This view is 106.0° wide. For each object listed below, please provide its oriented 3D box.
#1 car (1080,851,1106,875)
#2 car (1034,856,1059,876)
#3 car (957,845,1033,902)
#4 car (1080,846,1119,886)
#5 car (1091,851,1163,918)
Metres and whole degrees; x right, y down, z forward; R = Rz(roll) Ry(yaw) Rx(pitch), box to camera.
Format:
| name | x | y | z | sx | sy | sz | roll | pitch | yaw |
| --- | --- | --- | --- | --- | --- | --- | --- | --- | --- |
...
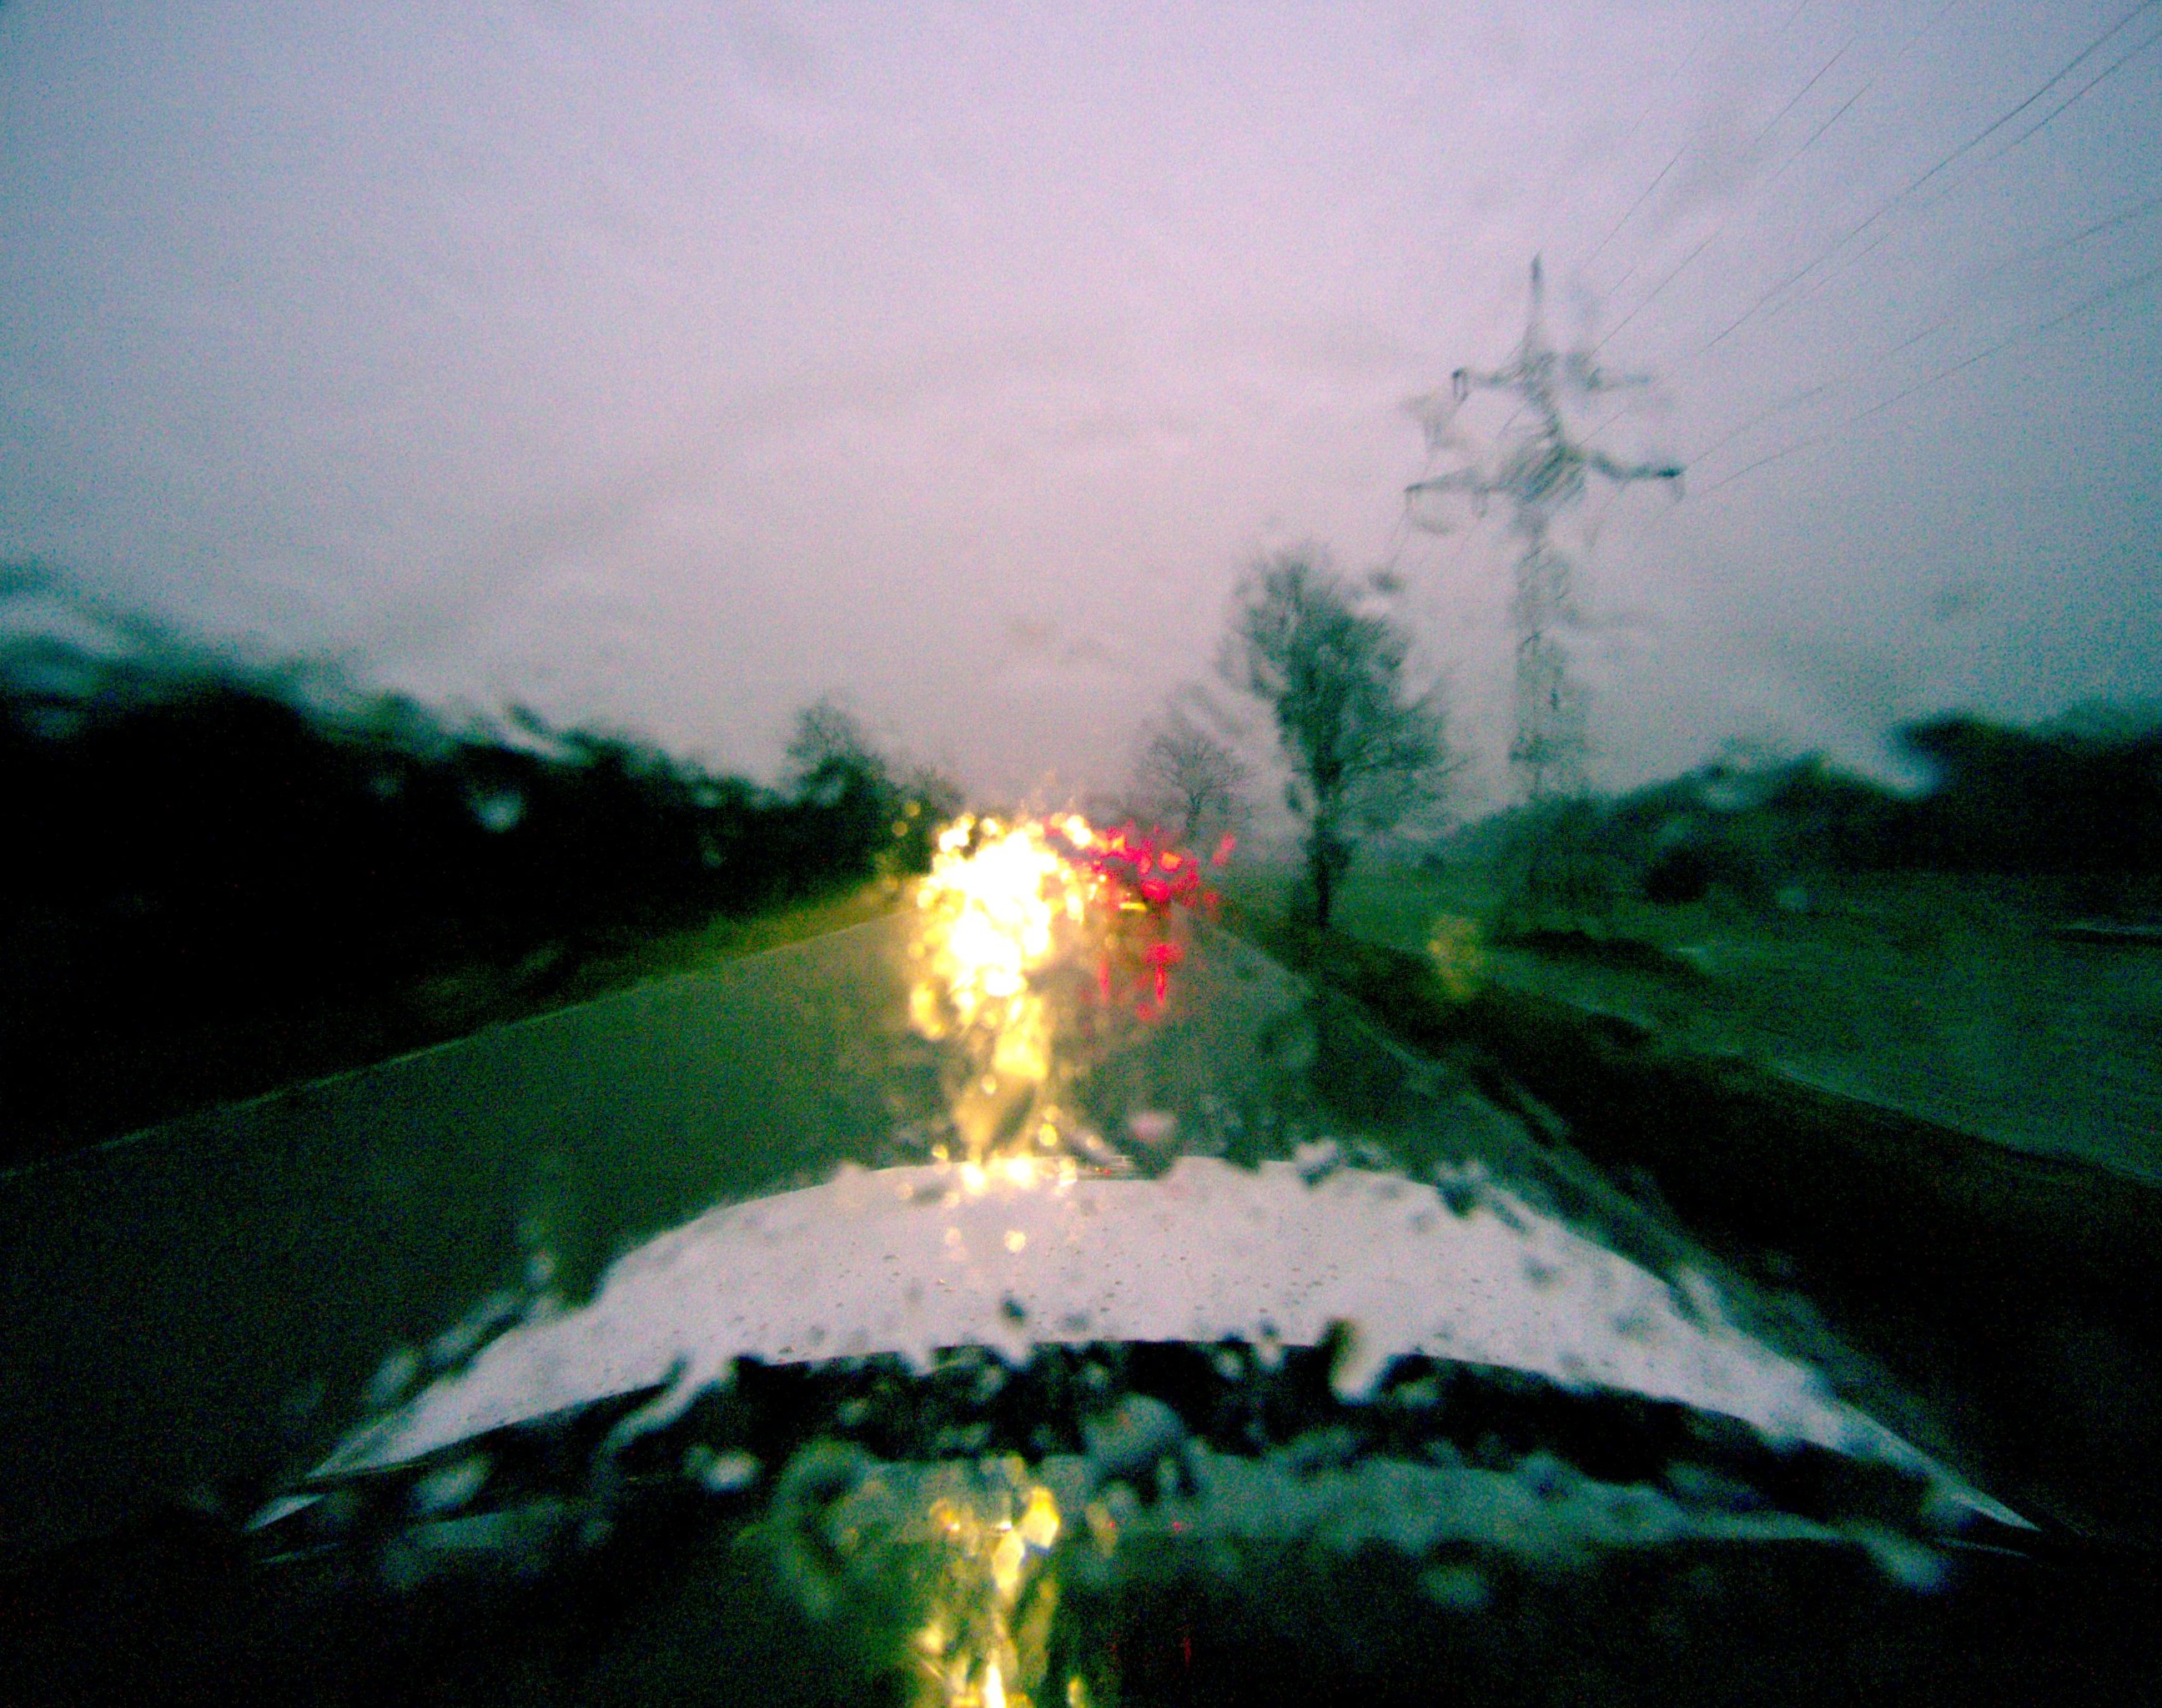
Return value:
| name | x | y | z | sx | sy | sz | roll | pitch | yaw |
| --- | --- | --- | --- | --- | --- | --- | --- | --- | --- |
| car | 0.943 | 0.646 | 60.513 | 1.856 | 1.700 | 4.470 | 0 | 0 | 2 |
| car | -2.560 | 0.875 | 60.979 | 1.650 | 1.486 | 3.670 | 0 | 0 | 1 |
| car | -2.716 | 0.573 | 26.724 | 1.856 | 1.700 | 4.470 | 0 | 0 | 2 |
| car | 1.011 | 0.601 | 42.583 | 1.844 | 2.013 | 4.004 | 0 | 0 | 4 |
| car | 1.070 | 0.639 | 18.525 | 1.494 | 1.398 | 3.203 | 0 | 0 | 4 |
